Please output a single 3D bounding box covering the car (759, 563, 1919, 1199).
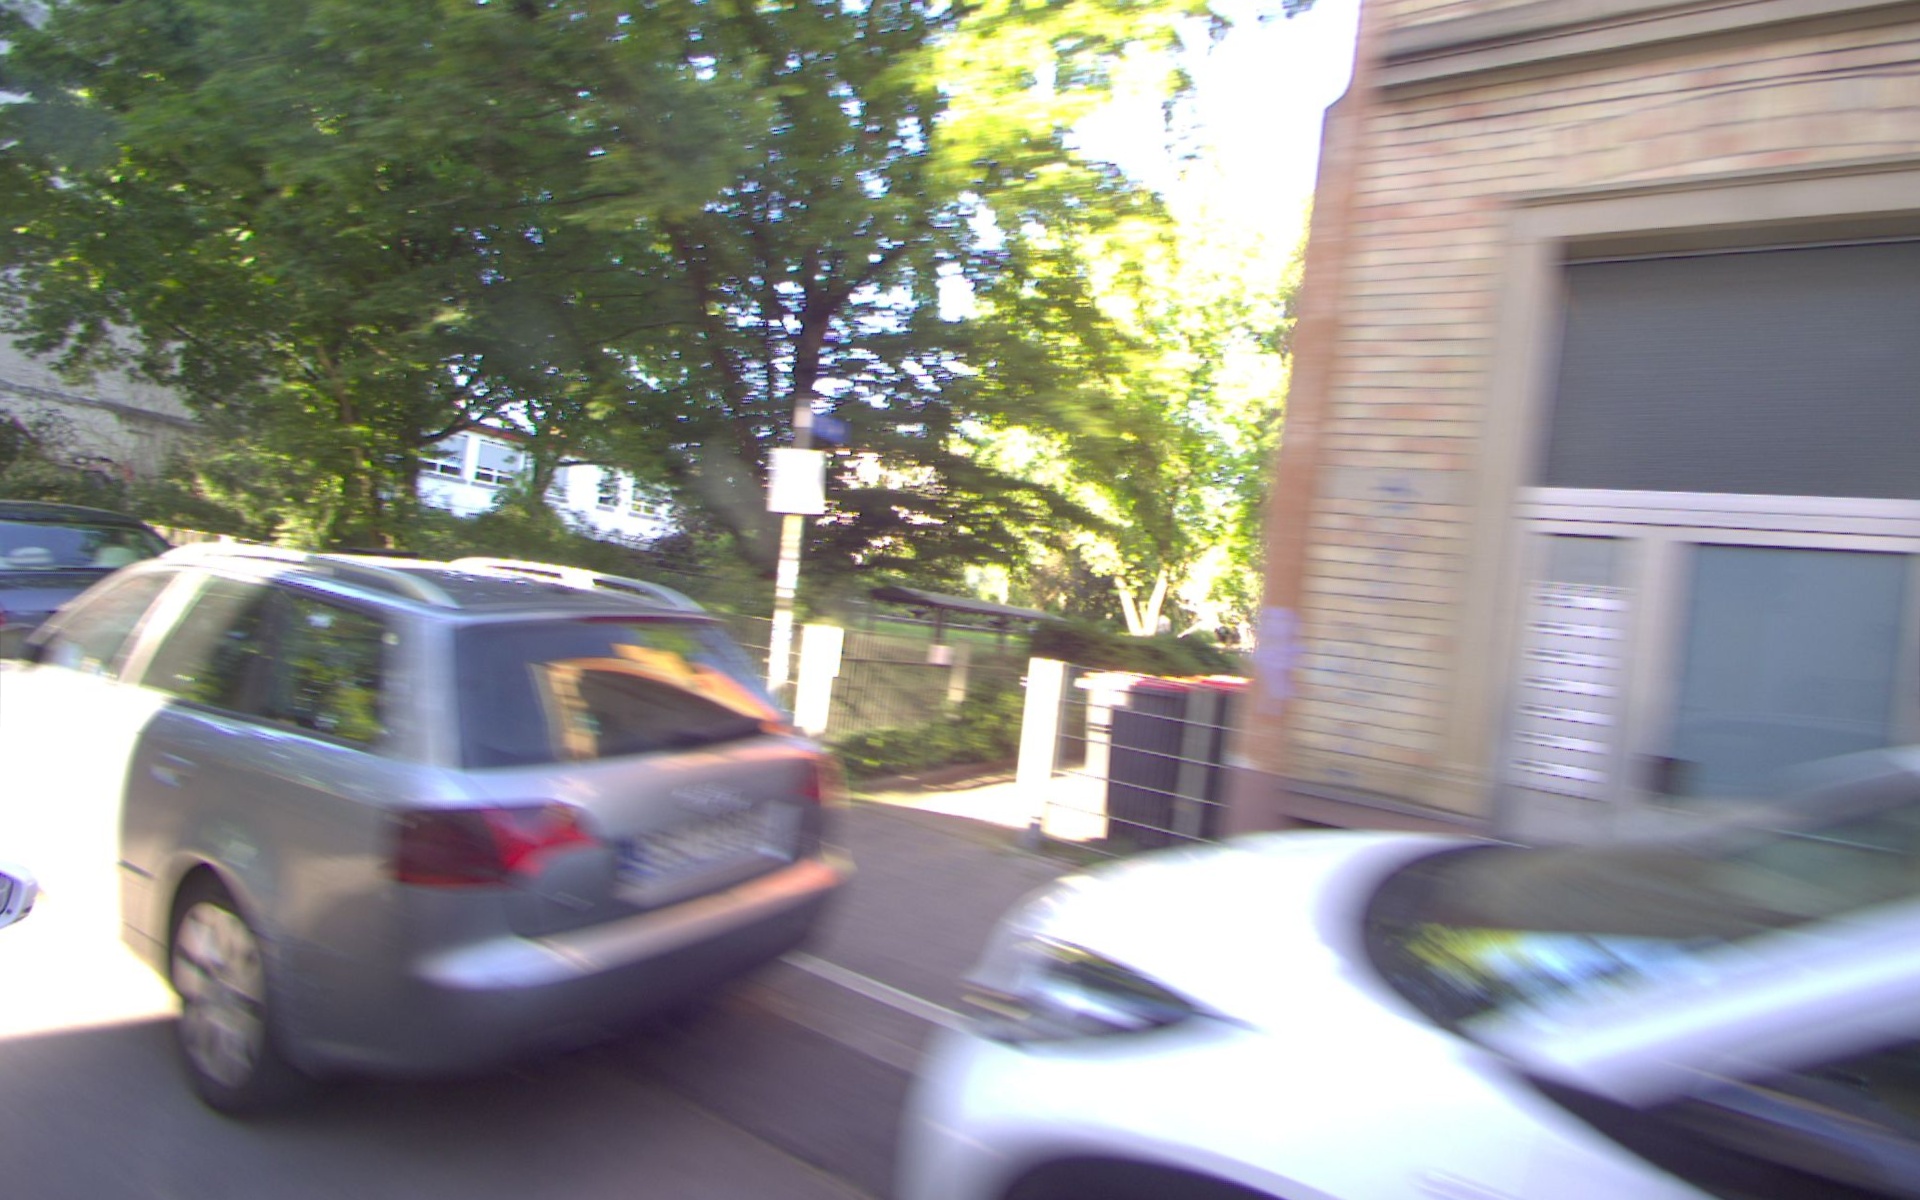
[{"bbox_3d":[1.643,0.956,1.461,3.702,1.606,1.594,7,1,33],"label":"car"}]

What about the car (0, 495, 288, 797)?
[{"bbox_3d":[-6.535,0.067,6.636,4.339,1.513,1.722,7,1,31],"label":"car"}]

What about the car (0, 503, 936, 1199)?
[{"bbox_3d":[-2.386,0.552,3.846,4.282,1.512,1.660,7,0,33],"label":"car"}]

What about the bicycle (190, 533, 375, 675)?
[{"bbox_3d":[-7.023,0.032,10.397,1.950,1.216,0.847,7,1,35],"label":"bicycle"}]

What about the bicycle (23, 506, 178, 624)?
[{"bbox_3d":[-11.486,-0.487,13.407,2.649,1.284,0.847,7,1,35],"label":"bicycle"}]

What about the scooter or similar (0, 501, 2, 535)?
[{"bbox_3d":[-15.234,-0.925,14.936,1.445,1.278,0.546,6,2,1],"label":"scooter or similar"}]

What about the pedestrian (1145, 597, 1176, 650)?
[{"bbox_3d":[8.145,0.950,40.806,0.737,2.039,0.909,6,1,-11],"label":"pedestrian"}]

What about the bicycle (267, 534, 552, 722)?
[{"bbox_3d":[-4.897,0.203,8.901,2.290,1.319,1.290,7,2,36],"label":"bicycle"}]

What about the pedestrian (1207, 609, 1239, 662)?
[{"bbox_3d":[10.662,1.450,40.850,0.737,2.039,0.909,6,1,-11],"label":"pedestrian"}]
